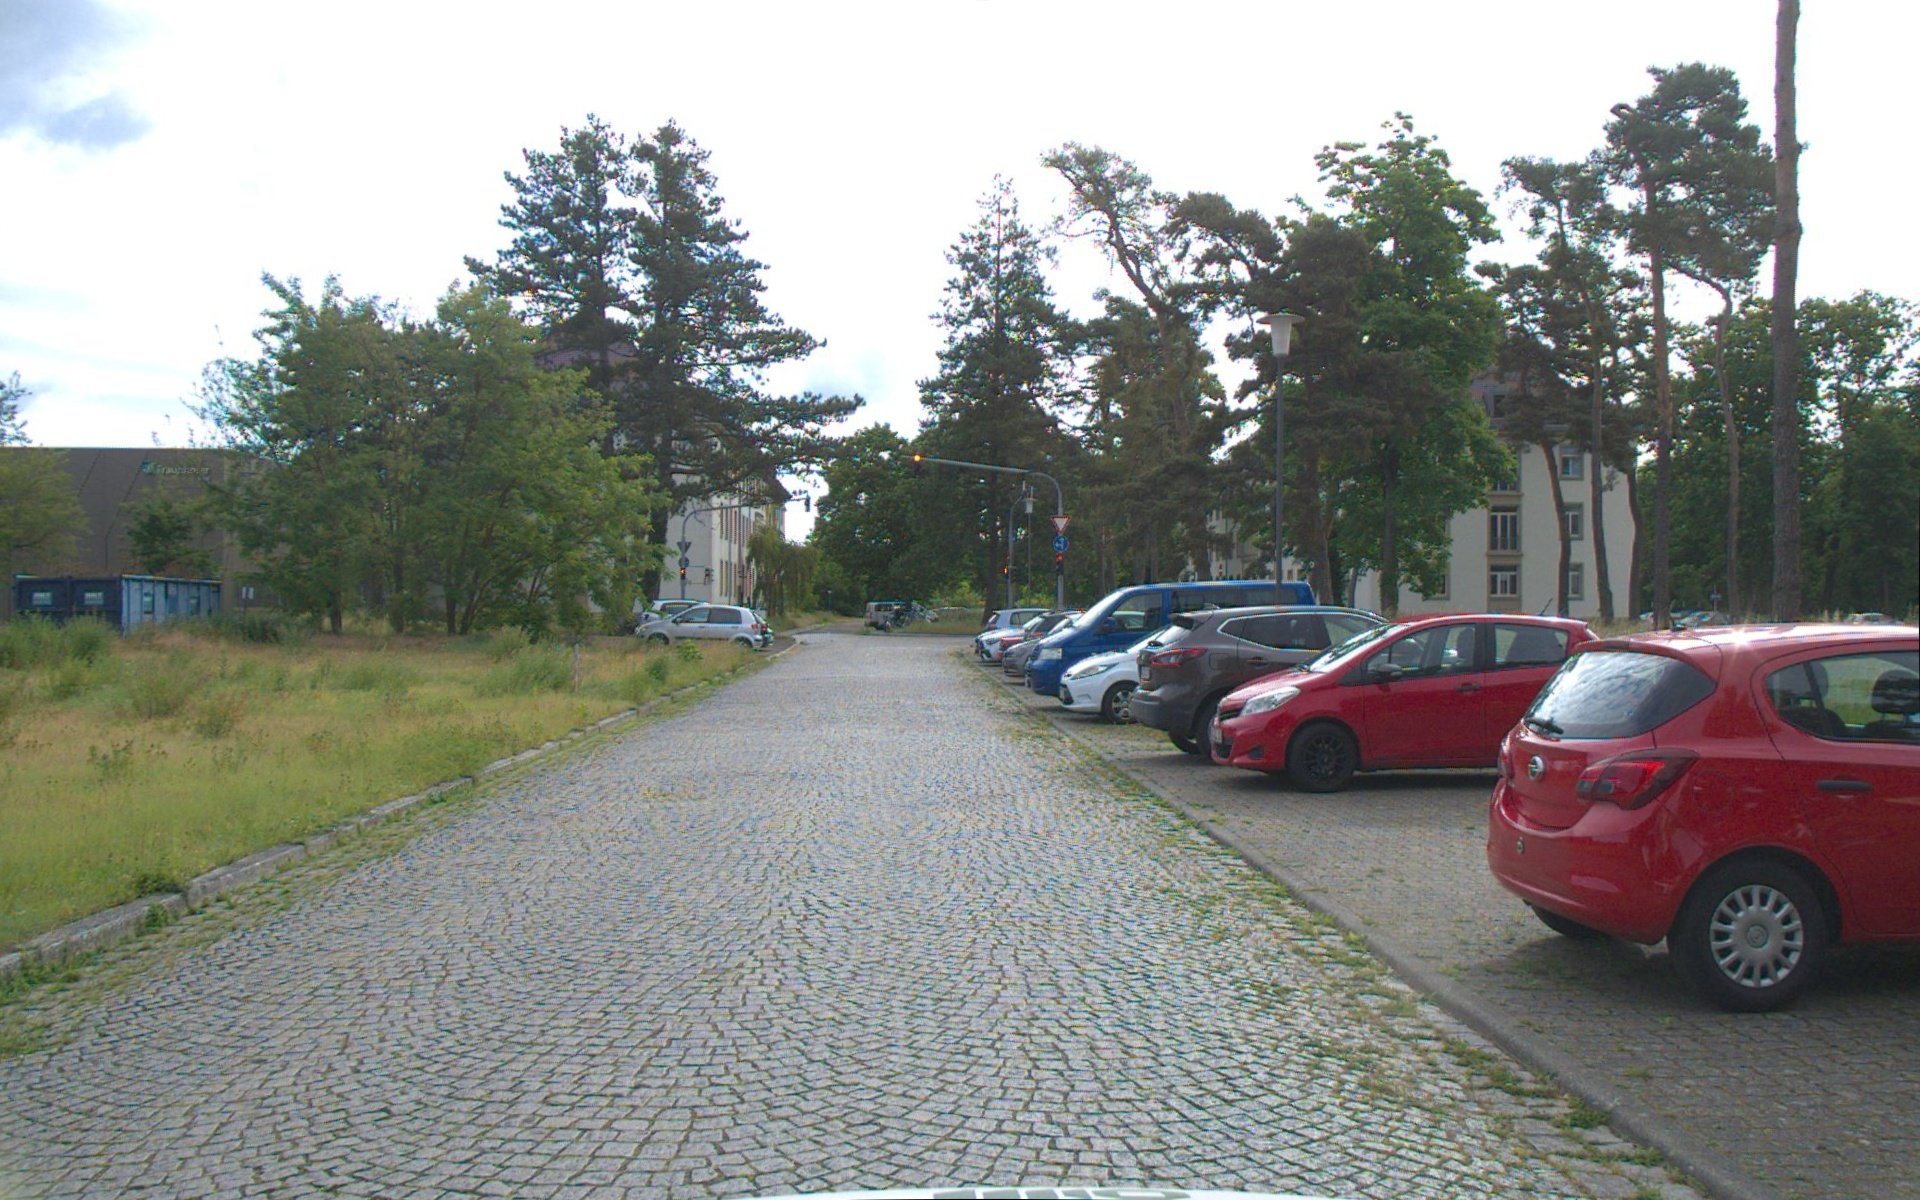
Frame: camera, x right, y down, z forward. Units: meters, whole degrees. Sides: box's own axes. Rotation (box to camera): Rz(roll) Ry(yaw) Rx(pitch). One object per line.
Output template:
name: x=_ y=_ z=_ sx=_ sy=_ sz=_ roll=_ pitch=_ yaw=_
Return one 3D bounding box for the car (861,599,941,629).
car: x=-4.202 y=1.001 z=116.839 sx=5.349 sy=2.049 sz=2.262 roll=1 pitch=-1 yaw=-12

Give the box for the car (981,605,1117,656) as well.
car: x=2.690 y=0.922 z=50.299 sx=3.892 sy=1.446 sz=1.617 roll=-1 pitch=-1 yaw=-7

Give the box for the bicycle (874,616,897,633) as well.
bicycle: x=-4.254 y=1.385 z=94.837 sx=0.613 sy=0.961 sz=1.646 roll=1 pitch=-1 yaw=-30

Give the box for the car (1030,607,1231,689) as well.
car: x=3.241 y=0.906 z=31.796 sx=3.600 sy=1.475 sz=1.522 roll=-1 pitch=-1 yaw=-5

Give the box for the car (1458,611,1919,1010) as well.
car: x=4.374 y=0.797 z=7.347 sx=3.750 sy=1.486 sz=1.778 roll=-1 pitch=-1 yaw=-4

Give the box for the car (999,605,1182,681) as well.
car: x=2.700 y=0.886 z=34.550 sx=3.600 sy=1.475 sz=1.522 roll=-1 pitch=-1 yaw=-5

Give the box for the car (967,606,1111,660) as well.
car: x=2.252 y=0.925 z=47.624 sx=3.892 sy=1.446 sz=1.617 roll=-1 pitch=-1 yaw=-7

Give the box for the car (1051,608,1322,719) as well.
car: x=3.227 y=0.890 z=23.919 sx=3.600 sy=1.475 sz=1.613 roll=-1 pitch=-1 yaw=-5

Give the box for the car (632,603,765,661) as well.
car: x=-7.672 y=0.926 z=48.704 sx=3.748 sy=1.600 sz=1.562 roll=-1 pitch=-1 yaw=-6

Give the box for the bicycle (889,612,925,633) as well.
bicycle: x=-3.161 y=1.330 z=98.965 sx=2.096 sy=1.236 sz=0.621 roll=1 pitch=-1 yaw=-7

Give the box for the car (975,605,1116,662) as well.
car: x=2.299 y=0.905 z=44.769 sx=3.602 sy=1.446 sz=1.521 roll=-1 pitch=-1 yaw=-7

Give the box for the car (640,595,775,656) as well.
car: x=-8.220 y=0.828 z=54.086 sx=4.177 sy=1.873 sz=1.742 roll=-1 pitch=-1 yaw=-3

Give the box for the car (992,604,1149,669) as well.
car: x=2.656 y=0.878 z=40.247 sx=3.600 sy=1.475 sz=1.522 roll=-1 pitch=-1 yaw=-5

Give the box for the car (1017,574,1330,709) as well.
car: x=3.348 y=0.648 z=26.522 sx=4.661 sy=1.989 sz=1.929 roll=-1 pitch=-1 yaw=-5

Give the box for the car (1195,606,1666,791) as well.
car: x=4.133 y=0.838 z=14.922 sx=3.716 sy=1.486 sz=1.750 roll=-1 pitch=-1 yaw=-3

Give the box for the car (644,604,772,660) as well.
car: x=-7.742 y=0.978 z=51.119 sx=3.746 sy=1.600 sz=1.563 roll=-1 pitch=-1 yaw=-3

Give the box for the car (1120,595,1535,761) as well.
car: x=3.815 y=0.791 z=17.568 sx=3.950 sy=1.580 sz=1.749 roll=-1 pitch=-1 yaw=-5

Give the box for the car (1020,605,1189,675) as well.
car: x=3.249 y=0.887 z=37.569 sx=3.600 sy=1.475 sz=1.522 roll=-1 pitch=-1 yaw=-5

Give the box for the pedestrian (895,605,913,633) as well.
pedestrian: x=-3.370 y=1.120 z=99.299 sx=1.014 sy=1.642 sz=0.756 roll=1 pitch=-1 yaw=-7
